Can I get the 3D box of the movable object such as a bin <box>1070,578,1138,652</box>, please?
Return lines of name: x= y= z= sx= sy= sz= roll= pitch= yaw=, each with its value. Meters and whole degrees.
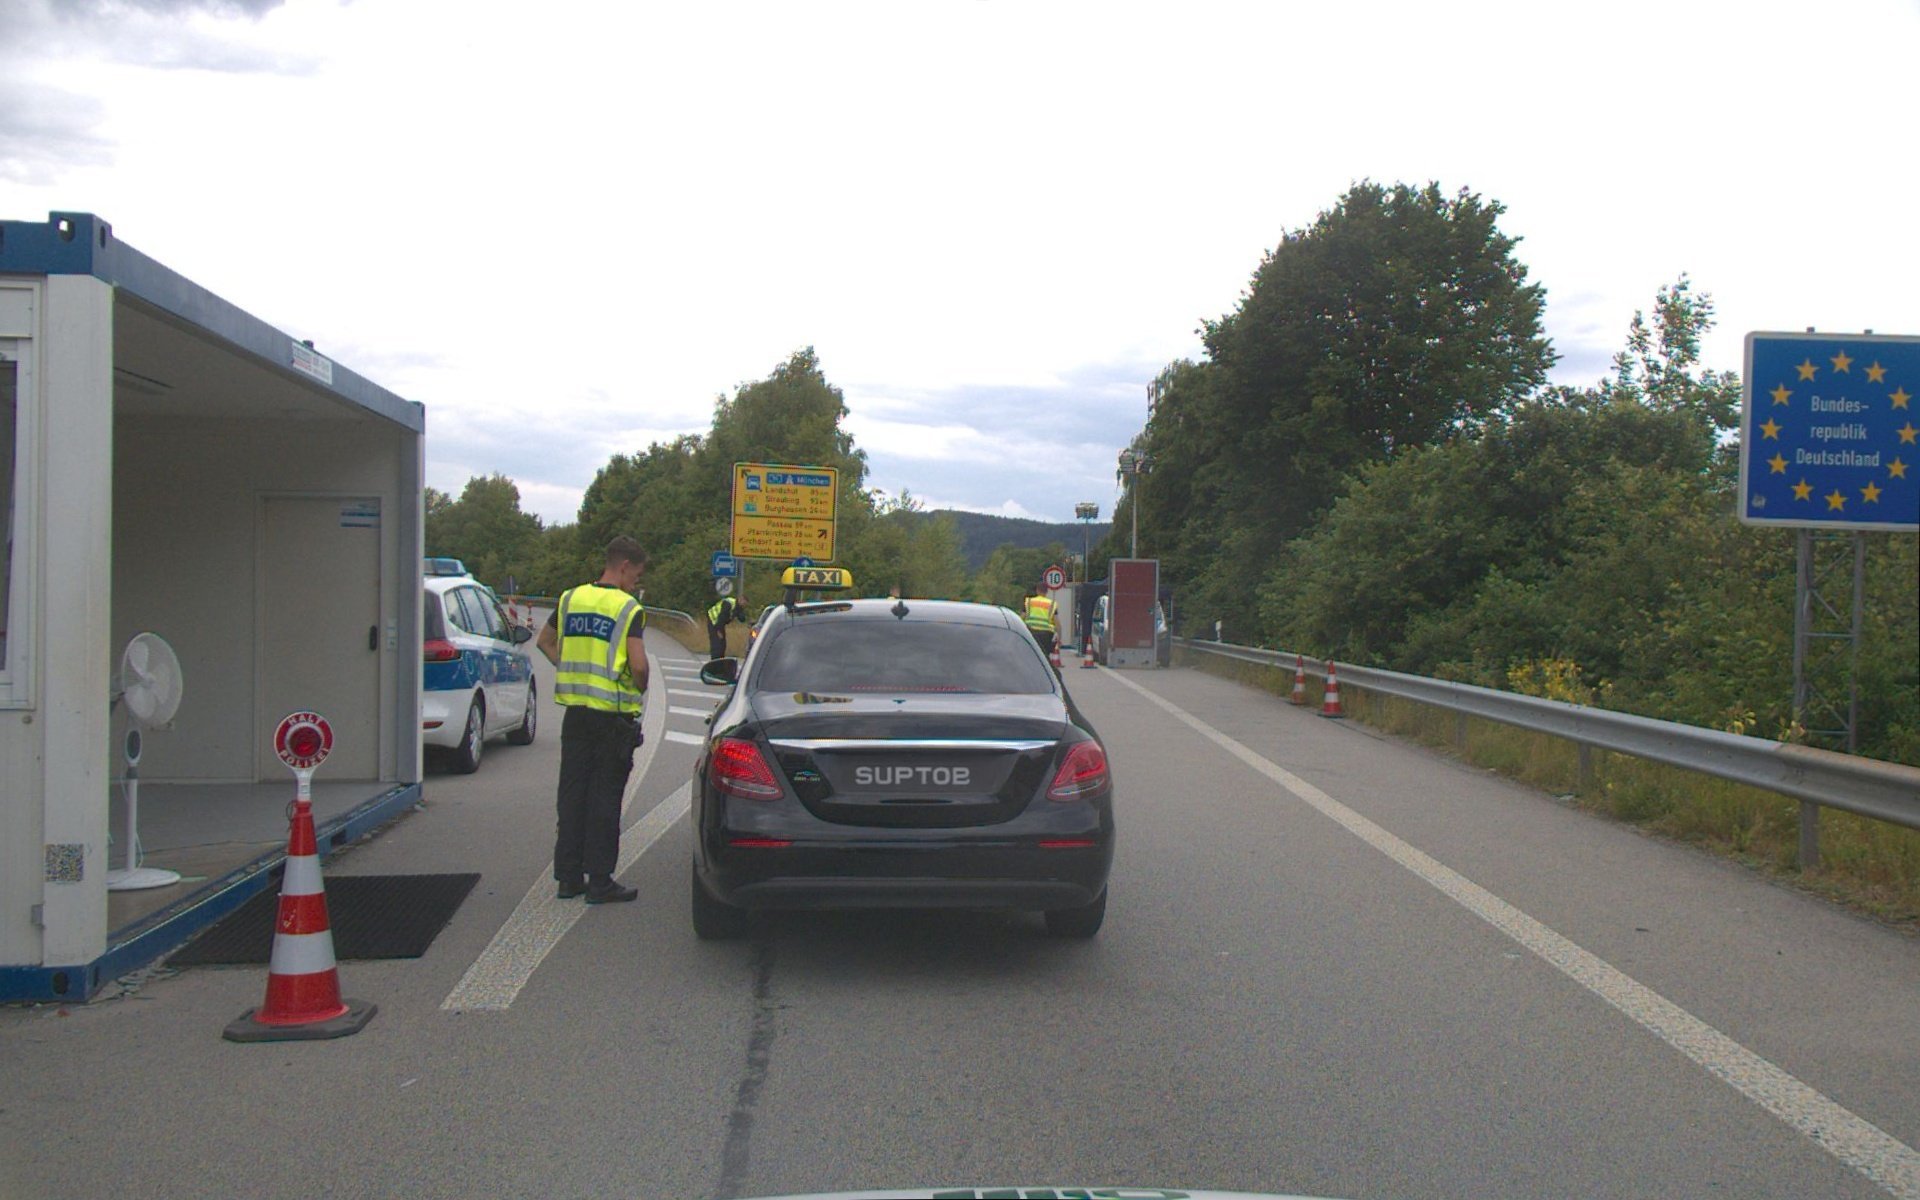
movable object such as a bin: x=4.712 y=0.486 z=54.696 sx=1.952 sy=2.320 sz=4.168 roll=1 pitch=0 yaw=1

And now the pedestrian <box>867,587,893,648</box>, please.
pedestrian: x=-2.619 y=0.567 z=54.084 sx=0.650 sy=1.995 sz=0.760 roll=0 pitch=0 yaw=15

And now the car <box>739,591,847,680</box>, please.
car: x=-3.033 y=0.606 z=30.720 sx=1.818 sy=1.524 sz=4.253 roll=1 pitch=0 yaw=-4

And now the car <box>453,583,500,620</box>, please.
car: x=-20.655 y=0.067 z=70.786 sx=1.825 sy=1.524 sz=4.239 roll=1 pitch=0 yaw=-16

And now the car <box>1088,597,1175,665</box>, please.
car: x=4.685 y=0.798 z=45.851 sx=1.877 sy=1.707 sz=5.083 roll=2 pitch=0 yaw=1

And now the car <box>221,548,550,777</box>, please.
car: x=-4.974 y=0.489 z=14.925 sx=1.832 sy=1.774 sz=4.004 roll=1 pitch=0 yaw=-5

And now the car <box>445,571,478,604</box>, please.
car: x=-34.567 y=-0.875 z=114.597 sx=1.829 sy=2.261 sz=4.230 roll=1 pitch=0 yaw=-21

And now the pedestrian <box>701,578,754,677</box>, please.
pedestrian: x=-4.309 y=0.504 z=30.703 sx=0.893 sy=1.800 sz=0.911 roll=1 pitch=0 yaw=-4

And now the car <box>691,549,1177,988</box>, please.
car: x=-0.286 y=0.625 z=8.392 sx=1.819 sy=1.623 sz=4.370 roll=1 pitch=0 yaw=-5

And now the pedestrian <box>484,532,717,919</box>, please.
pedestrian: x=-1.738 y=0.566 z=8.027 sx=0.747 sy=1.748 sz=0.815 roll=0 pitch=0 yaw=36

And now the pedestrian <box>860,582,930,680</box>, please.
pedestrian: x=-1.167 y=0.542 z=29.558 sx=0.900 sy=1.727 sz=0.903 roll=1 pitch=0 yaw=-32

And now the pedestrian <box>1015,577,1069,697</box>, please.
pedestrian: x=1.279 y=0.572 z=26.033 sx=0.796 sy=1.862 sz=0.809 roll=0 pitch=0 yaw=-1
